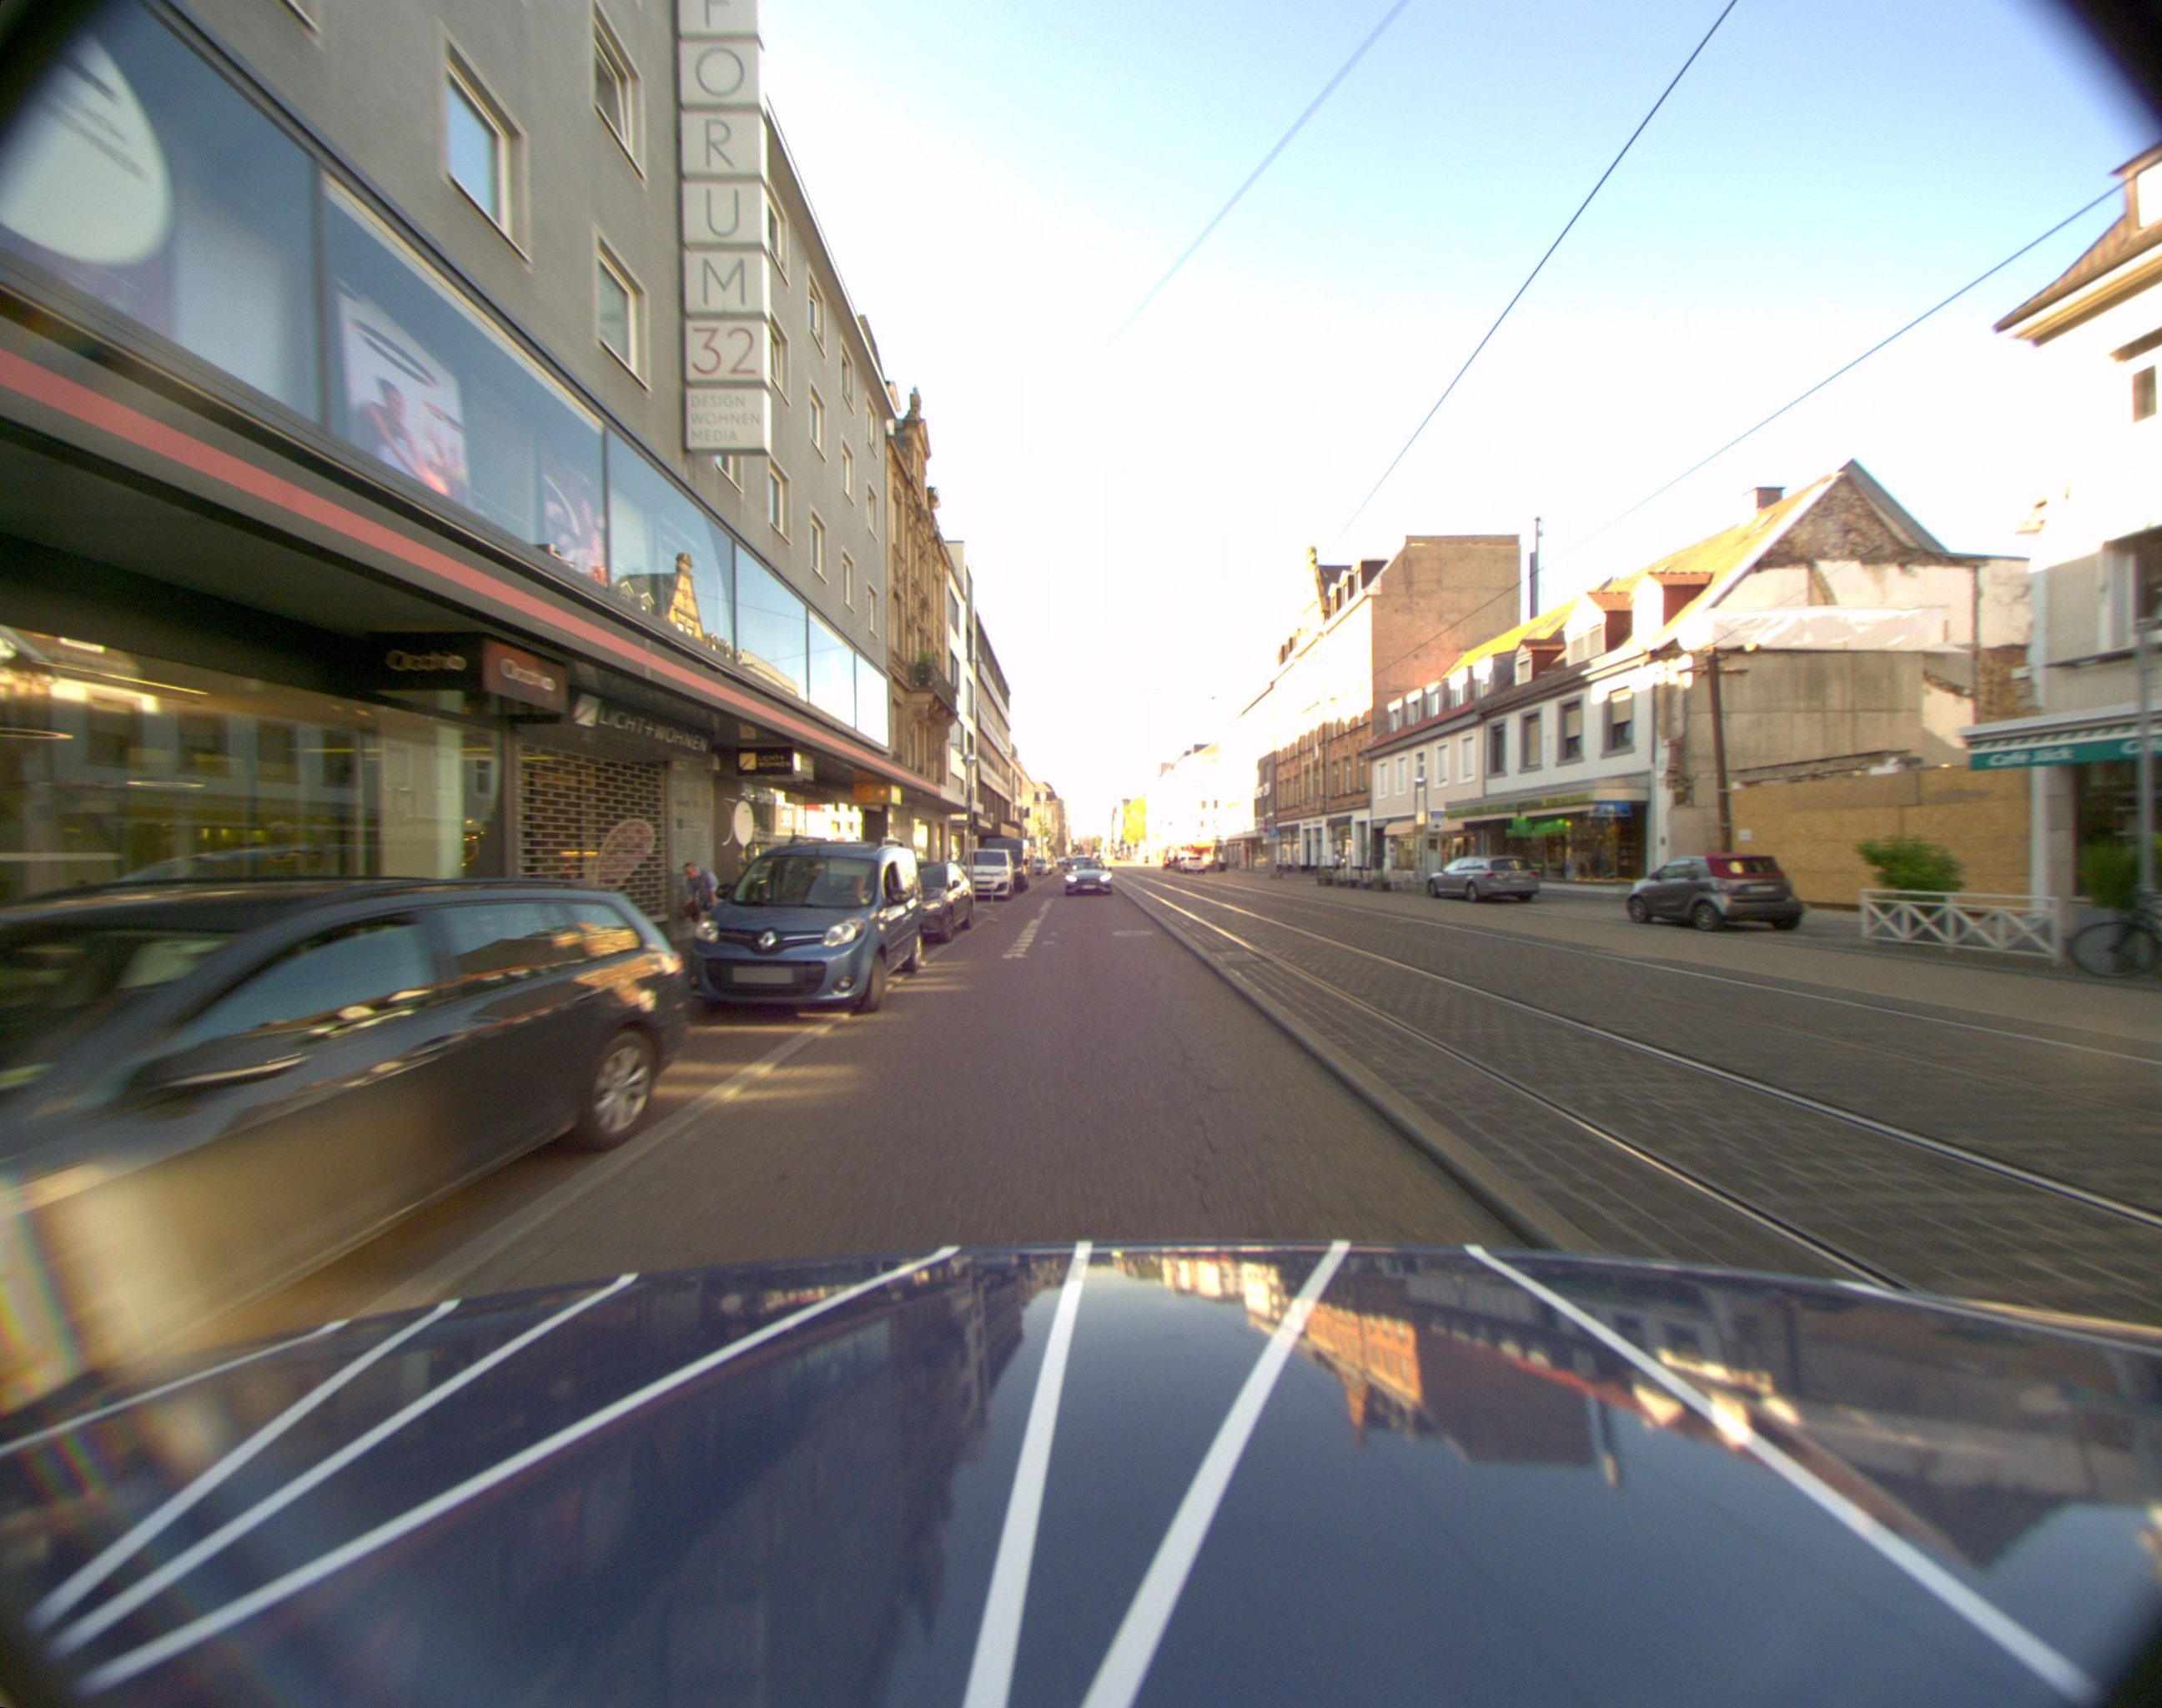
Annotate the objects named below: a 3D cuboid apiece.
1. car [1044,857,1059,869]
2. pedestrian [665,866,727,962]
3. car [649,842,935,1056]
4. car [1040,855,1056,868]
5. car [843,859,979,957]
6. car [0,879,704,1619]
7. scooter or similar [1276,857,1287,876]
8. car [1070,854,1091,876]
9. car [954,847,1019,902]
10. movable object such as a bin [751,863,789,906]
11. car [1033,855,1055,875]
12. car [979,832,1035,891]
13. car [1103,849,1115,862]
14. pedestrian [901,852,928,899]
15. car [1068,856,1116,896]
[{"bbox_3d":[-3.613,1.146,94.047,1.630,1.342,3.463,2,1,0],"label":"car"},{"bbox_3d":[-6.049,0.920,11.966,0.577,1.431,0.731,1,1,0],"label":"pedestrian"},{"bbox_3d":[-2.936,0.800,8.867,1.821,1.849,4.548,1,1,-3],"label":"car"},{"bbox_3d":[-3.779,0.836,87.907,1.630,1.342,3.330,2,1,0],"label":"car"},{"bbox_3d":[-3.176,0.934,15.079,1.768,1.568,4.287,1,1,-1],"label":"car"},{"bbox_3d":[-3.259,0.942,2.594,1.726,1.476,4.415,1,1,0],"label":"car"},{"bbox_3d":[13.614,0.845,51.589,0.404,1.216,1.202,-3,1,0],"label":"scooter or similar"},{"bbox_3d":[-0.017,0.859,61.285,1.630,1.593,3.330,2,1,0],"label":"car"},{"bbox_3d":[-3.492,0.711,28.955,2.052,1.899,4.877,0,1,-3],"label":"car"},{"bbox_3d":[-10.133,0.985,24.775,0.881,1.353,0.801,0,1,0],"label":"movable object such as a bin"},{"bbox_3d":[-3.116,0.885,64.507,1.630,1.543,3.508,2,1,0],"label":"car"},{"bbox_3d":[-3.363,0.378,35.686,2.051,2.486,5.686,-2,-1,-1],"label":"car"},{"bbox_3d":[4.864,0.235,132.815,1.998,2.002,4.000,-3,1,1],"label":"car"},{"bbox_3d":[-5.383,0.677,24.575,0.697,1.499,0.814,0,1,0],"label":"pedestrian"},{"bbox_3d":[0.407,0.842,31.555,1.858,1.463,4.785,0,1,0],"label":"car"}]
